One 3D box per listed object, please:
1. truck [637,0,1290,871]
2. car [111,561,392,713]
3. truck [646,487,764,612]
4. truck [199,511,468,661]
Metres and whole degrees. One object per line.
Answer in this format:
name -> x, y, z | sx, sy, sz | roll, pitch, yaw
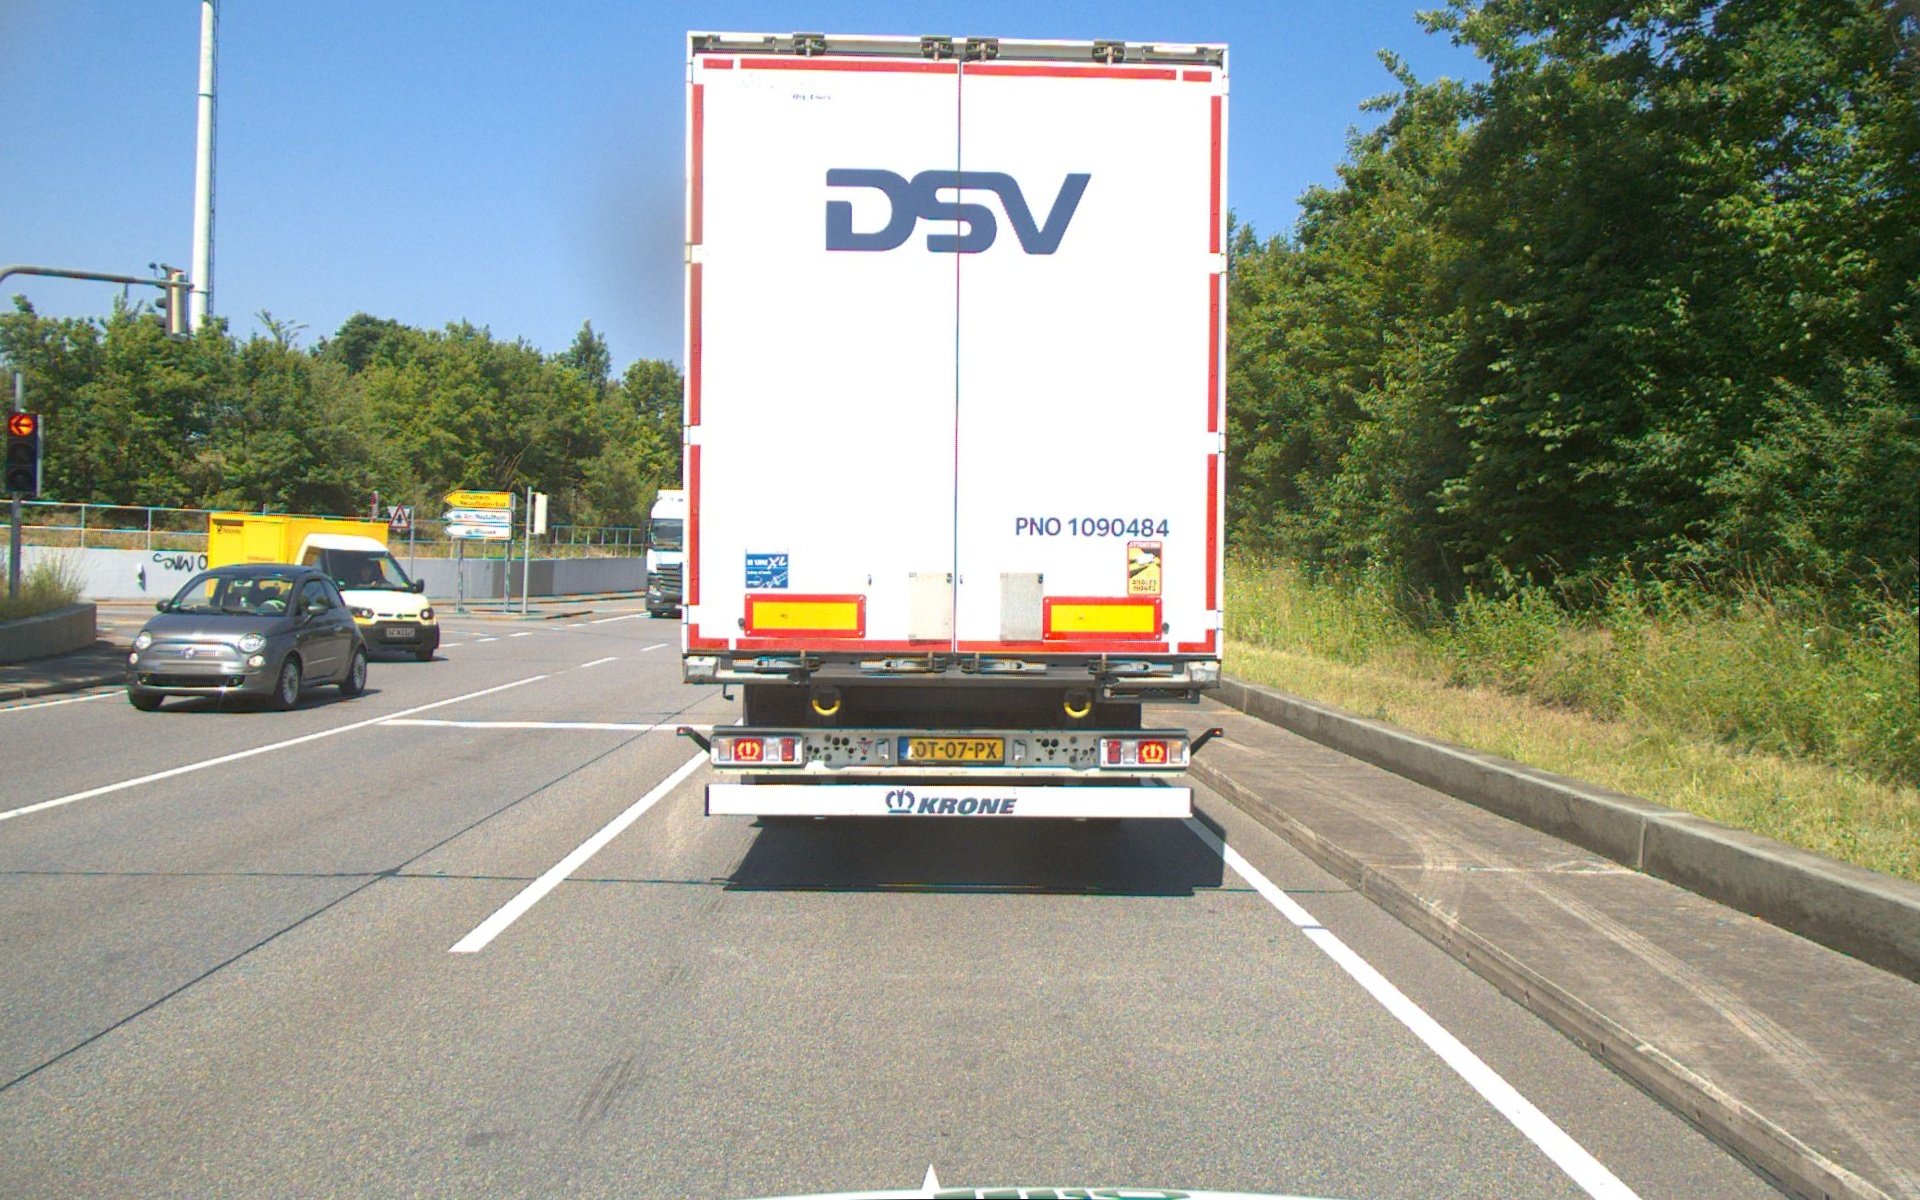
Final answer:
truck -> -0.033, -1.190, 12.391 | 2.890, 4.648, 9.862 | 1, 1, -1
car -> -7.723, 0.345, 18.391 | 1.554, 1.495, 3.600 | 1, 1, 0
truck -> -8.625, -1.710, 57.371 | 2.305, 3.815, 12.624 | 1, 1, -1
truck -> -10.816, -0.300, 28.283 | 5.923, 2.314, 1.971 | 2, 1, 44
